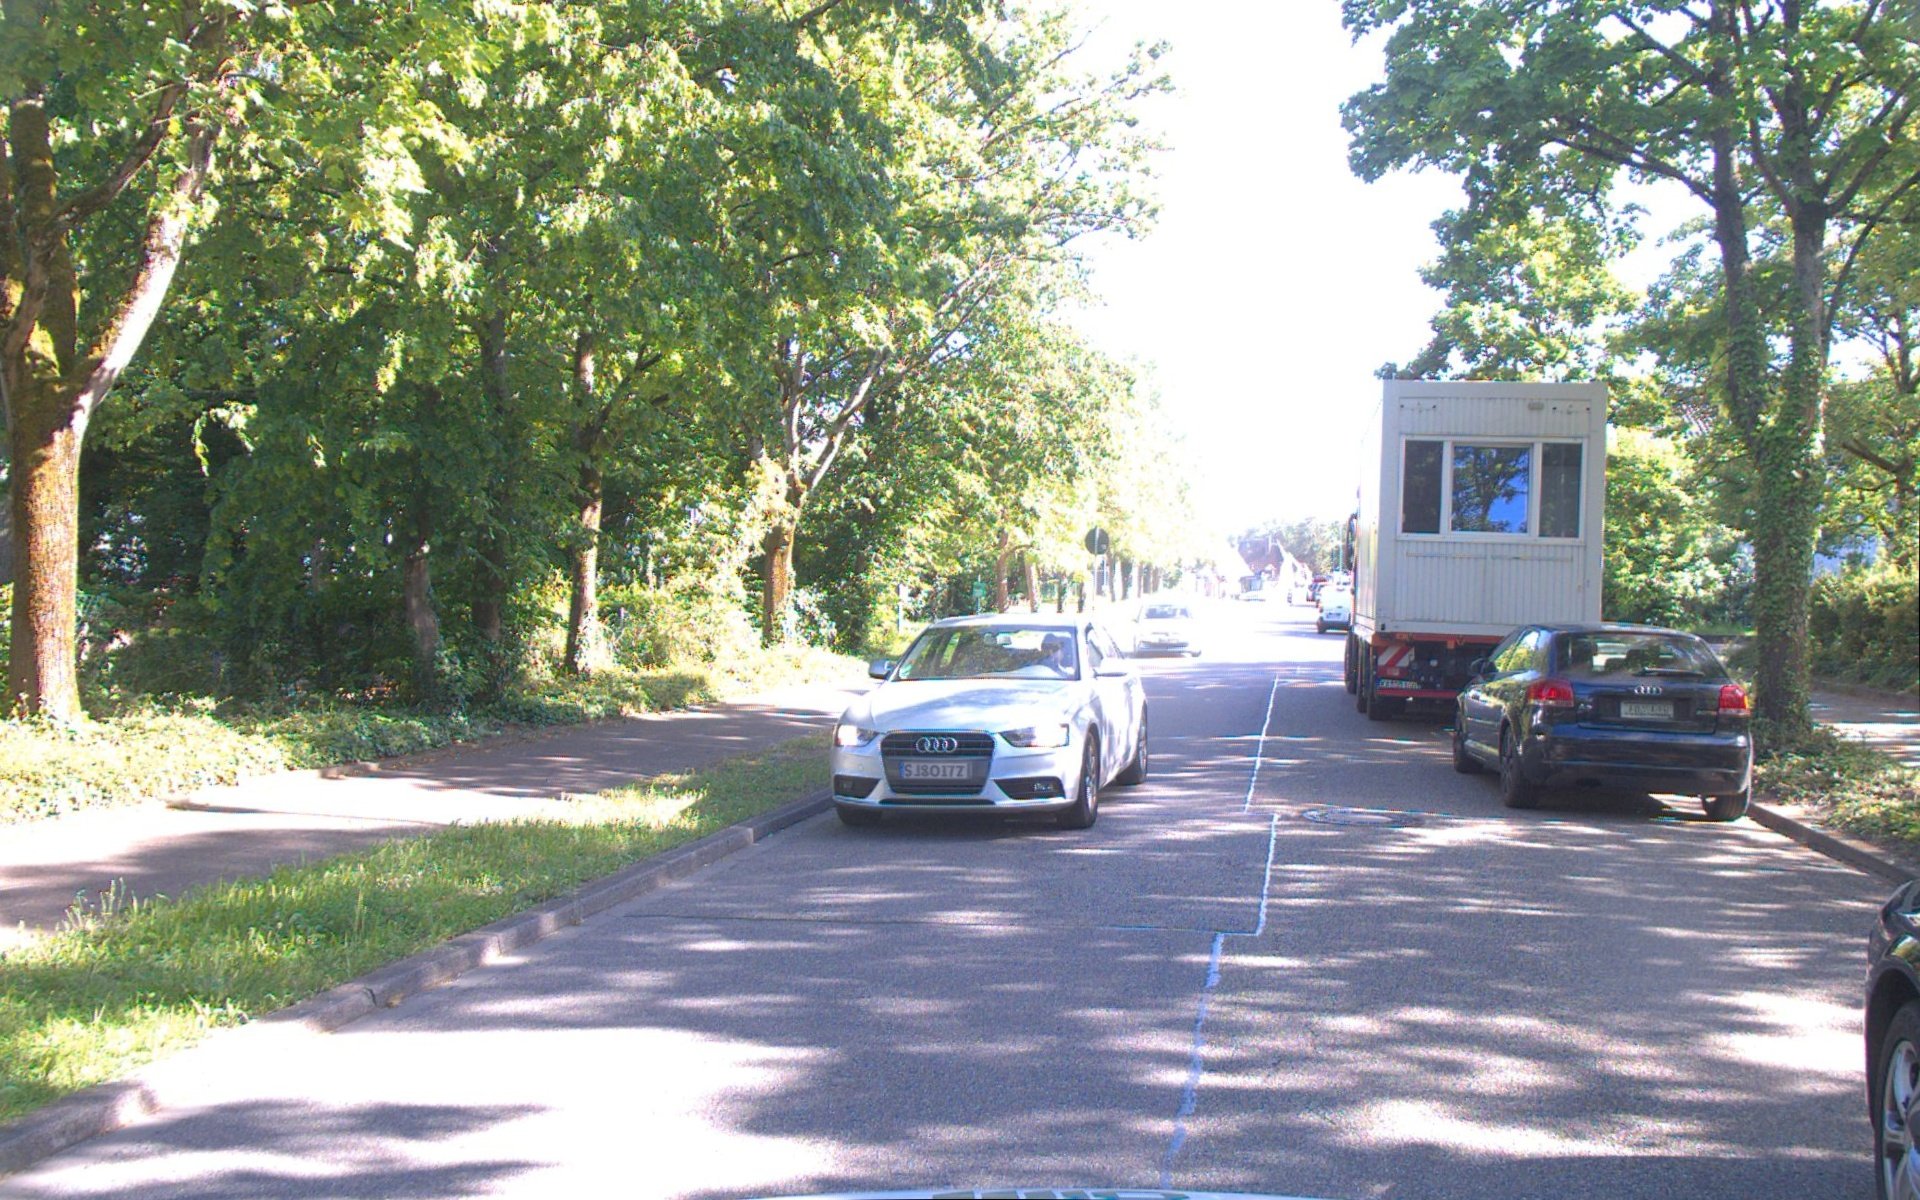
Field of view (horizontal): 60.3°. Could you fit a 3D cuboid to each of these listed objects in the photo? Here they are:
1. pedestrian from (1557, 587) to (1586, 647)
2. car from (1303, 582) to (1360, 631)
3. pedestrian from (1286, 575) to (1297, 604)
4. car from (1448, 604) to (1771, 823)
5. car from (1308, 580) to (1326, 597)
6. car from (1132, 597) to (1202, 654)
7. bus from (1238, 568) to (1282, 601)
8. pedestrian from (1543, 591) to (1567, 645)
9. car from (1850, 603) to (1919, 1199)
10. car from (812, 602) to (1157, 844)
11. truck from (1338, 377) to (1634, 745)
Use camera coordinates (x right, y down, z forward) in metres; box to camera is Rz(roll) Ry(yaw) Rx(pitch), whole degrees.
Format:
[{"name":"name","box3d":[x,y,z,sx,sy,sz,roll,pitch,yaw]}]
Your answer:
[{"name":"pedestrian","box3d":[18.908,0.528,51.162,0.683,1.844,0.701,-1,0,9]},{"name":"car","box3d":[14.628,0.232,65.308,1.905,1.875,4.003,1,0,8]},{"name":"pedestrian","box3d":[24.941,-0.757,124.406,0.736,2.150,0.799,2,0,14]},{"name":"car","box3d":[5.168,0.800,13.686,1.605,1.445,4.003,1,1,9]},{"name":"car","box3d":[39.869,-1.266,184.755,1.743,1.840,4.004,0,0,11]},{"name":"car","box3d":[5.618,0.652,44.769,1.767,1.445,3.962,-1,0,8]},{"name":"bus","box3d":[31.995,-1.652,176.220,3.978,3.407,9.808,-1,0,14]},{"name":"pedestrian","box3d":[18.352,0.545,51.016,0.585,1.639,0.601,-1,0,9]},{"name":"car","box3d":[2.641,0.773,2.029,1.711,1.506,4.033,1,0,13]},{"name":"car","box3d":[0.371,0.772,12.368,1.748,1.441,4.108,-1,0,13]},{"name":"truck","box3d":[7.060,-0.502,23.715,2.714,4.065,10.357,2,1,11]}]
